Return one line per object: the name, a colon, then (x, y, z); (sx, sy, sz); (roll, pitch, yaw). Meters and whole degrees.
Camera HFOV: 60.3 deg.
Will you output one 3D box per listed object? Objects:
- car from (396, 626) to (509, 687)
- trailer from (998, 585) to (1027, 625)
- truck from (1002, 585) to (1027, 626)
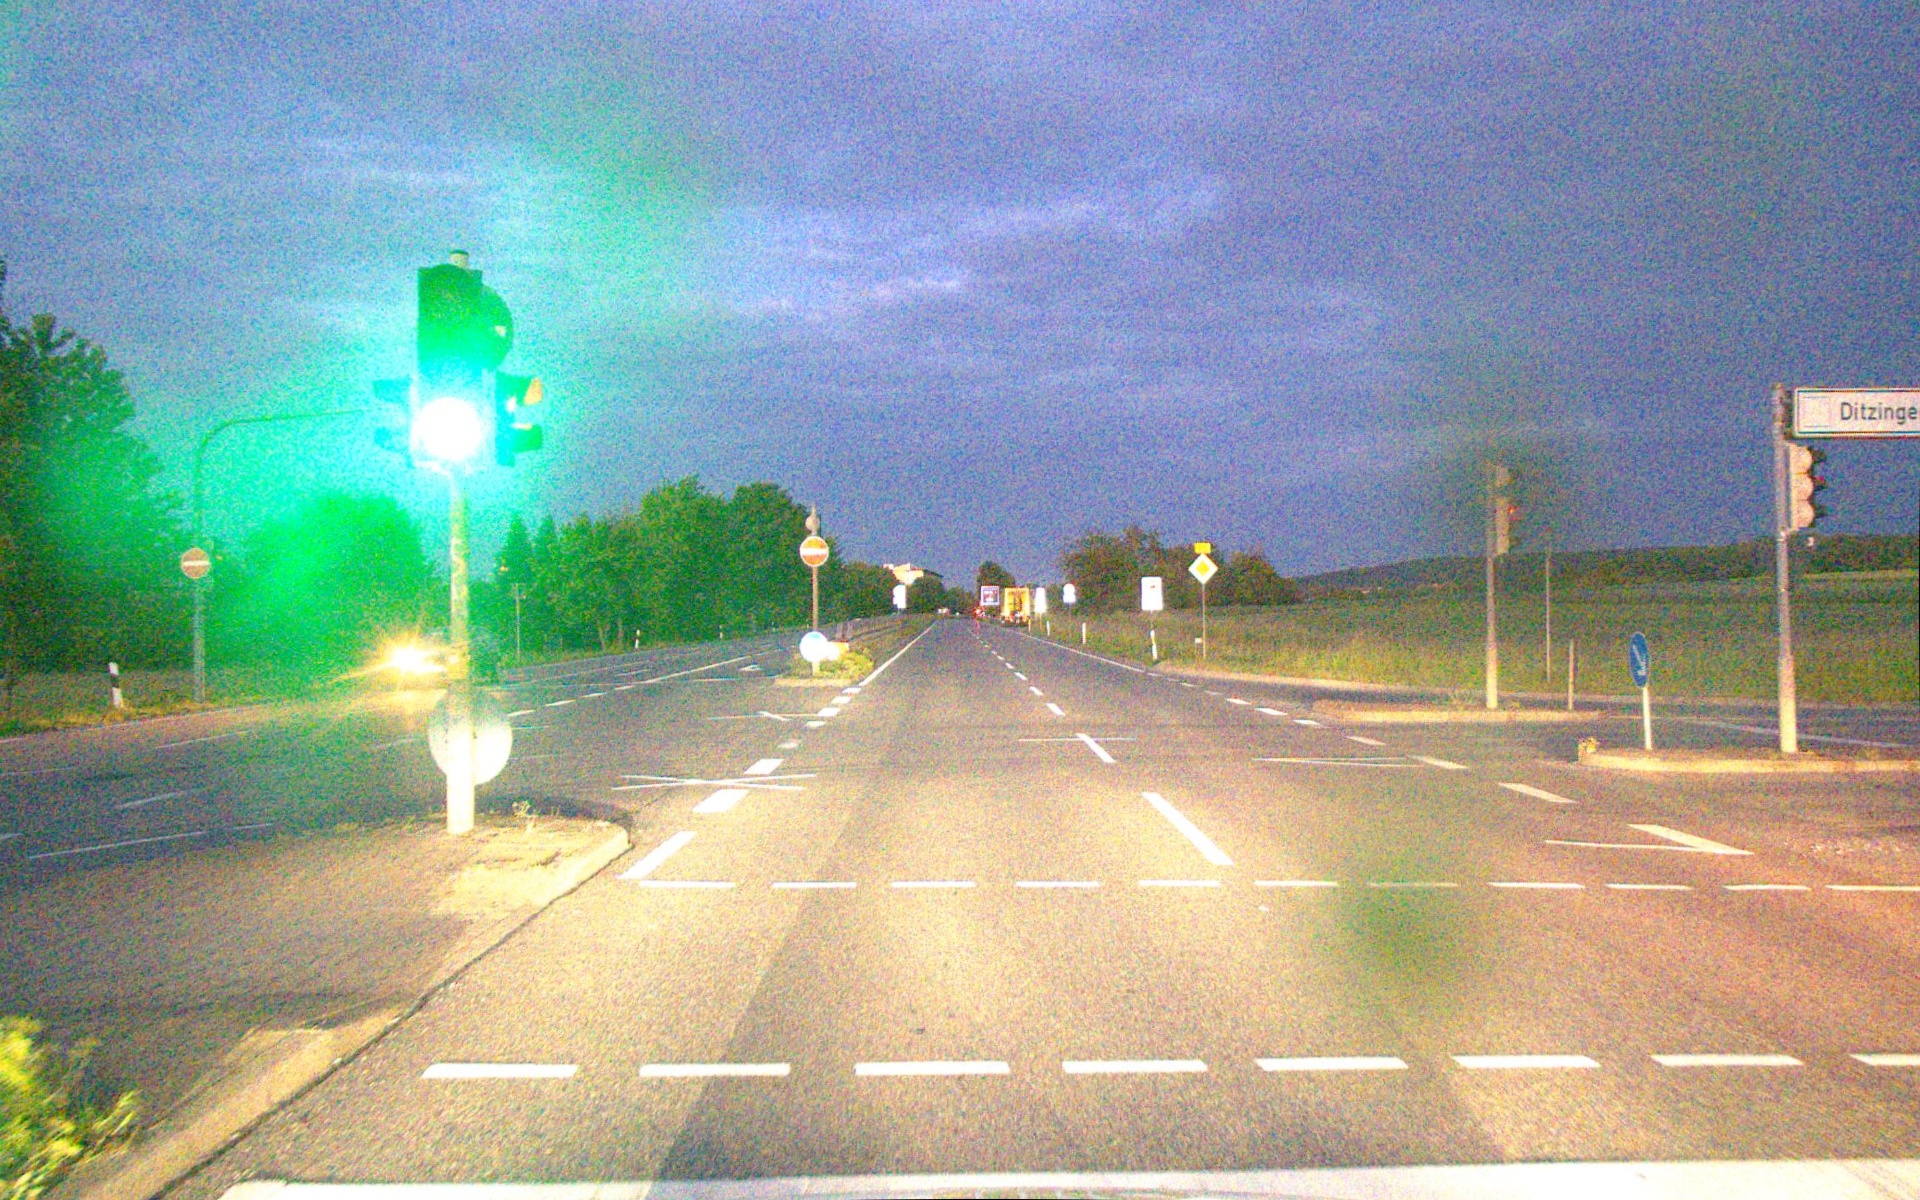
car: (-12.547, 1.361, 41.117); (1.618, 1.409, 4.029); (-1, -1, -1)
trailer: (5.692, 0.620, 180.581); (2.568, 4.176, 12.935); (-1, 0, 0)
truck: (5.707, 0.562, 174.267); (2.526, 4.142, 6.130); (1, 0, 0)
